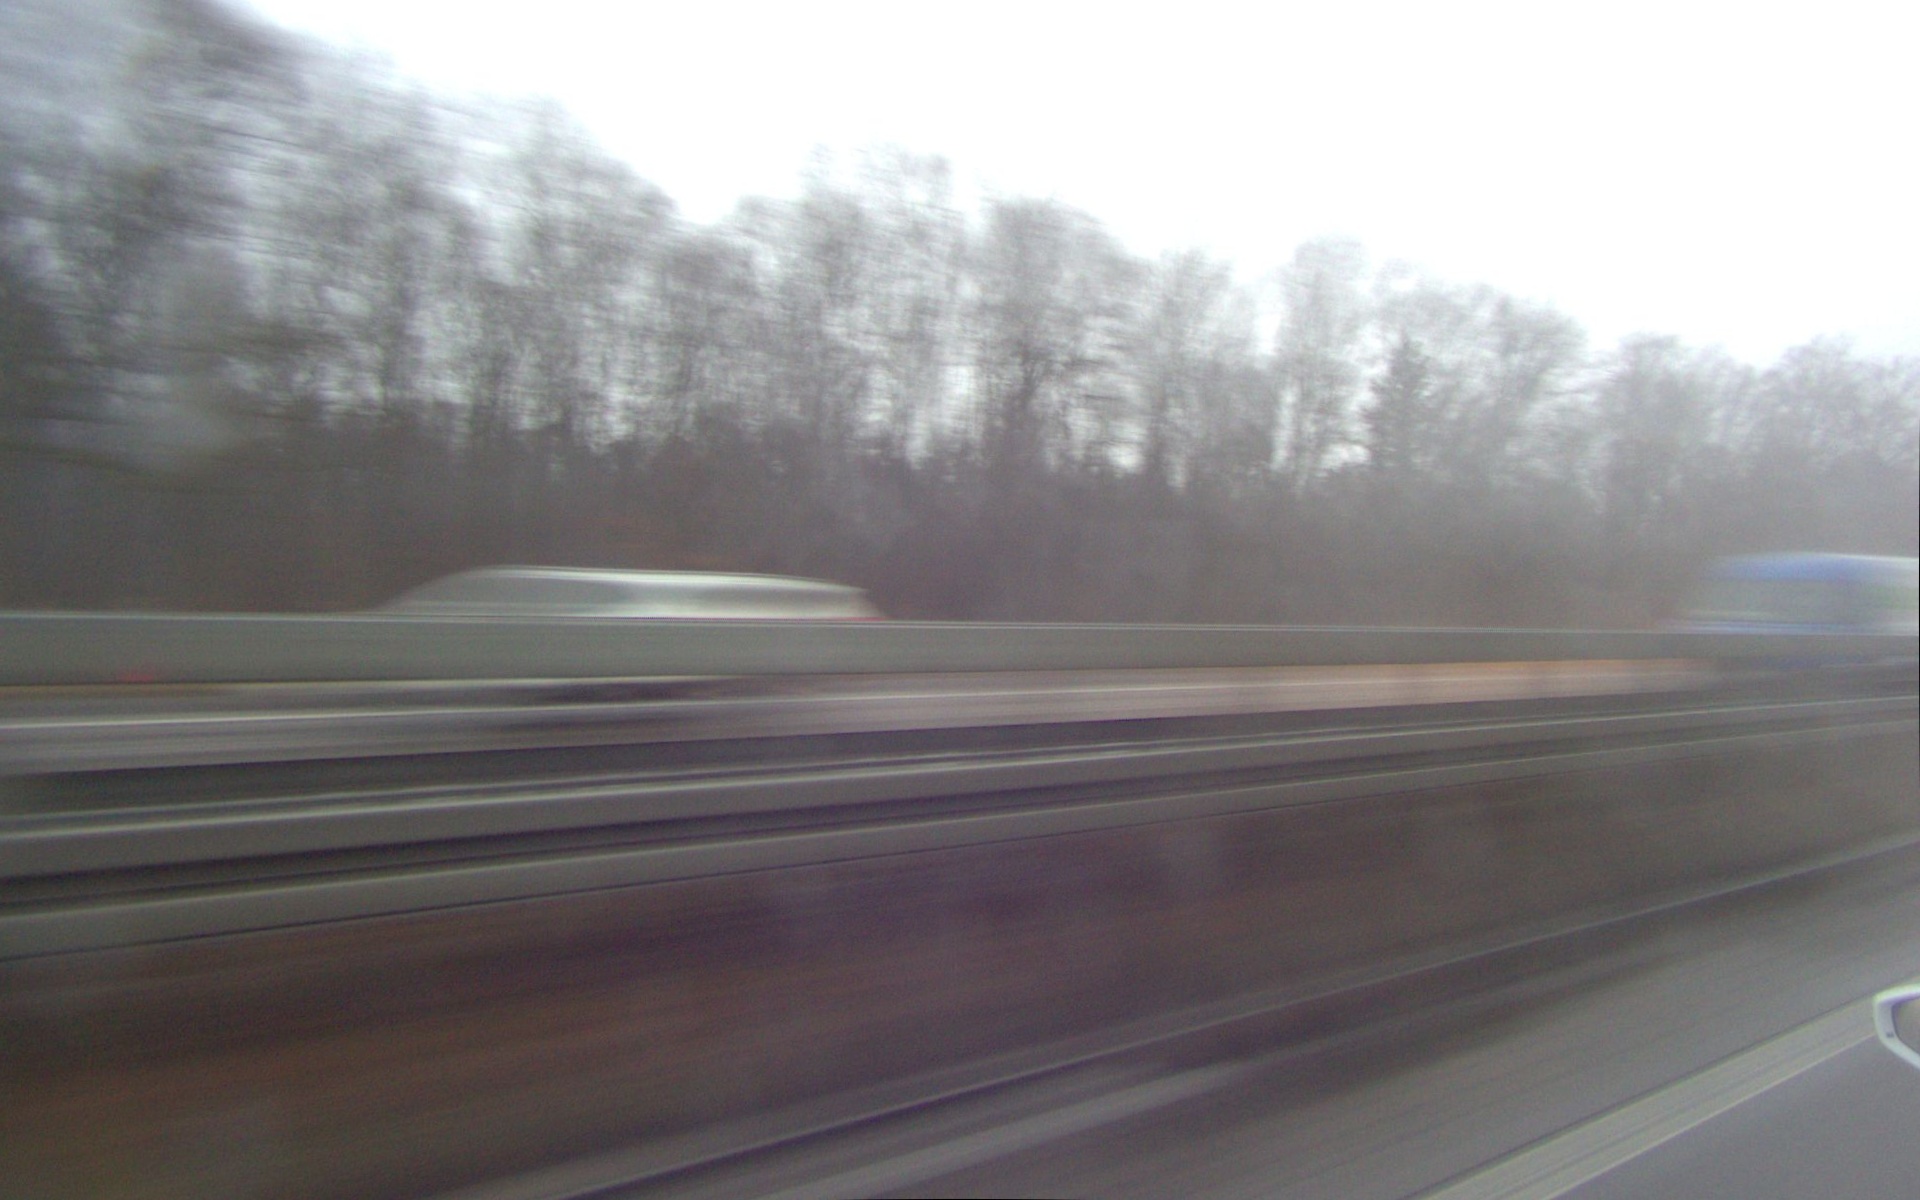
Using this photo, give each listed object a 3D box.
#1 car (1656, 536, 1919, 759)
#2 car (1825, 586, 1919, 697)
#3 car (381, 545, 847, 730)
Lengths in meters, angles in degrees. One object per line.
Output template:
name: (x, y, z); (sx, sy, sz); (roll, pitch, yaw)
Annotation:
car: (14.086, 0.716, 16.486); (5.545, 3.131, 2.291); (2, 0, -32)
car: (19.868, 0.836, 20.470); (4.341, 2.041, 1.984); (1, 2, -30)
car: (-3.671, 0.385, 10.963); (4.552, 1.669, 1.681); (2, 0, -31)
